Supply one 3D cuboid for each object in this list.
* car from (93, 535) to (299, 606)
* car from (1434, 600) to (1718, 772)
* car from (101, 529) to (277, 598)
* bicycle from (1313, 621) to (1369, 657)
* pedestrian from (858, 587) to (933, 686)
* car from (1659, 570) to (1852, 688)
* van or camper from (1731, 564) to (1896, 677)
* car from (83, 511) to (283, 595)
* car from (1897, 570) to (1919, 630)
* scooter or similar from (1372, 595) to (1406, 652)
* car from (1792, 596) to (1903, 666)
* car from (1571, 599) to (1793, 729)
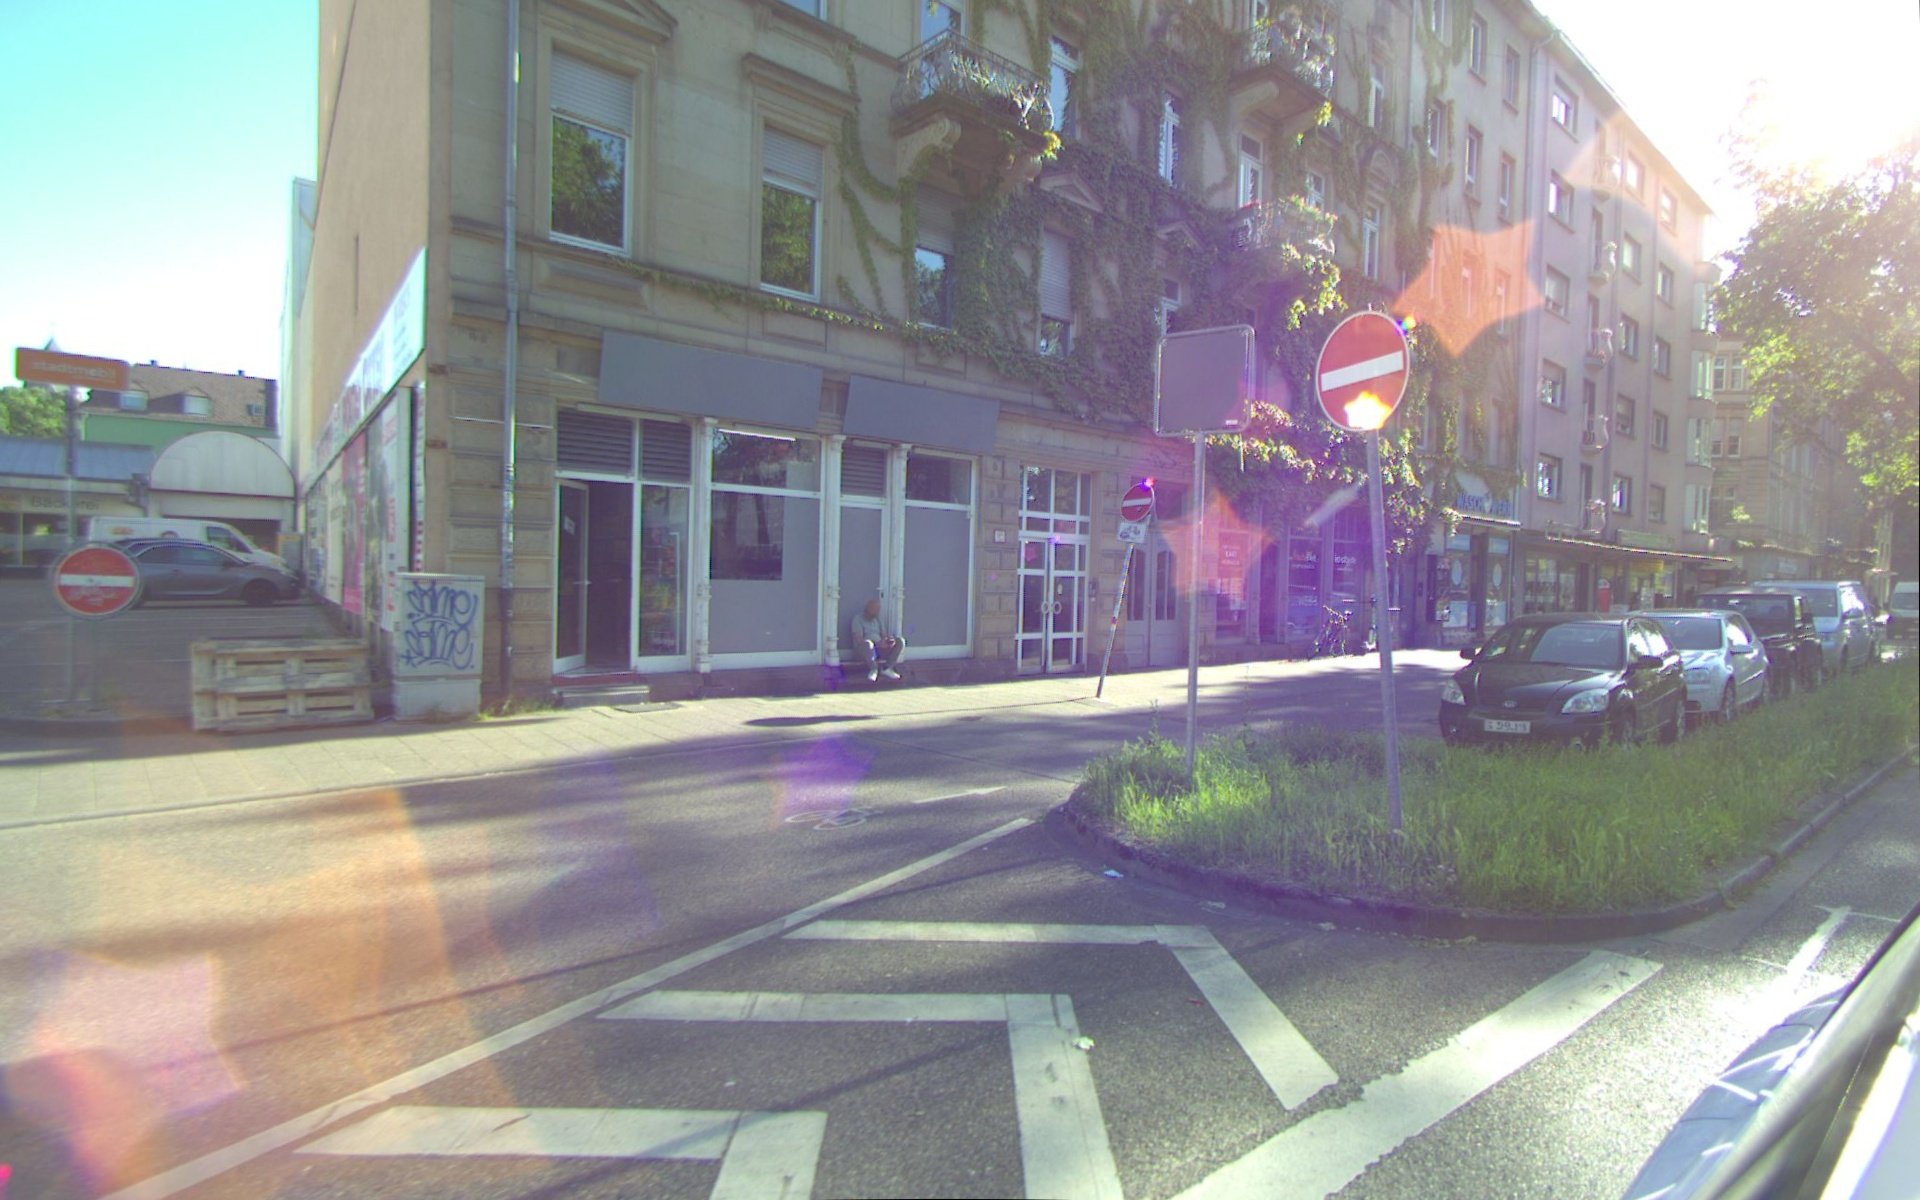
[{"bbox_3d":[-17.061,-0.667,22.716,3.580,1.481,1.680,-1,3,-39],"label":"car"},{"bbox_3d":[6.823,0.782,11.048,3.932,1.537,1.642,0,-1,-43],"label":"car"},{"bbox_3d":[-20.096,-0.944,26.566,3.576,1.690,1.682,-1,2,-35],"label":"car"},{"bbox_3d":[8.169,0.820,21.696,1.486,0.714,0.469,0,1,-41],"label":"bicycle"},{"bbox_3d":[-0.893,0.481,13.961,0.701,1.276,0.717,0,4,-41],"label":"pedestrian"},{"bbox_3d":[13.820,0.429,17.506,3.930,1.786,1.868,0,2,-41],"label":"car"},{"bbox_3d":[17.623,0.355,20.798,5.007,2.038,1.887,0,2,-42],"label":"van or camper"},{"bbox_3d":[-24.409,-1.438,32.031,4.785,2.442,1.713,1,1,-30],"label":"car"},{"bbox_3d":[41.779,0.028,43.129,5.753,2.465,2.078,0,1,-41],"label":"car"},{"bbox_3d":[9.627,0.500,22.687,0.631,1.188,1.720,2,2,24],"label":"scooter or similar"},{"bbox_3d":[21.322,0.686,24.271,3.764,1.497,1.592,0,2,-43],"label":"car"},{"bbox_3d":[10.056,0.764,13.996,3.932,1.537,1.740,0,-1,-43],"label":"car"}]
